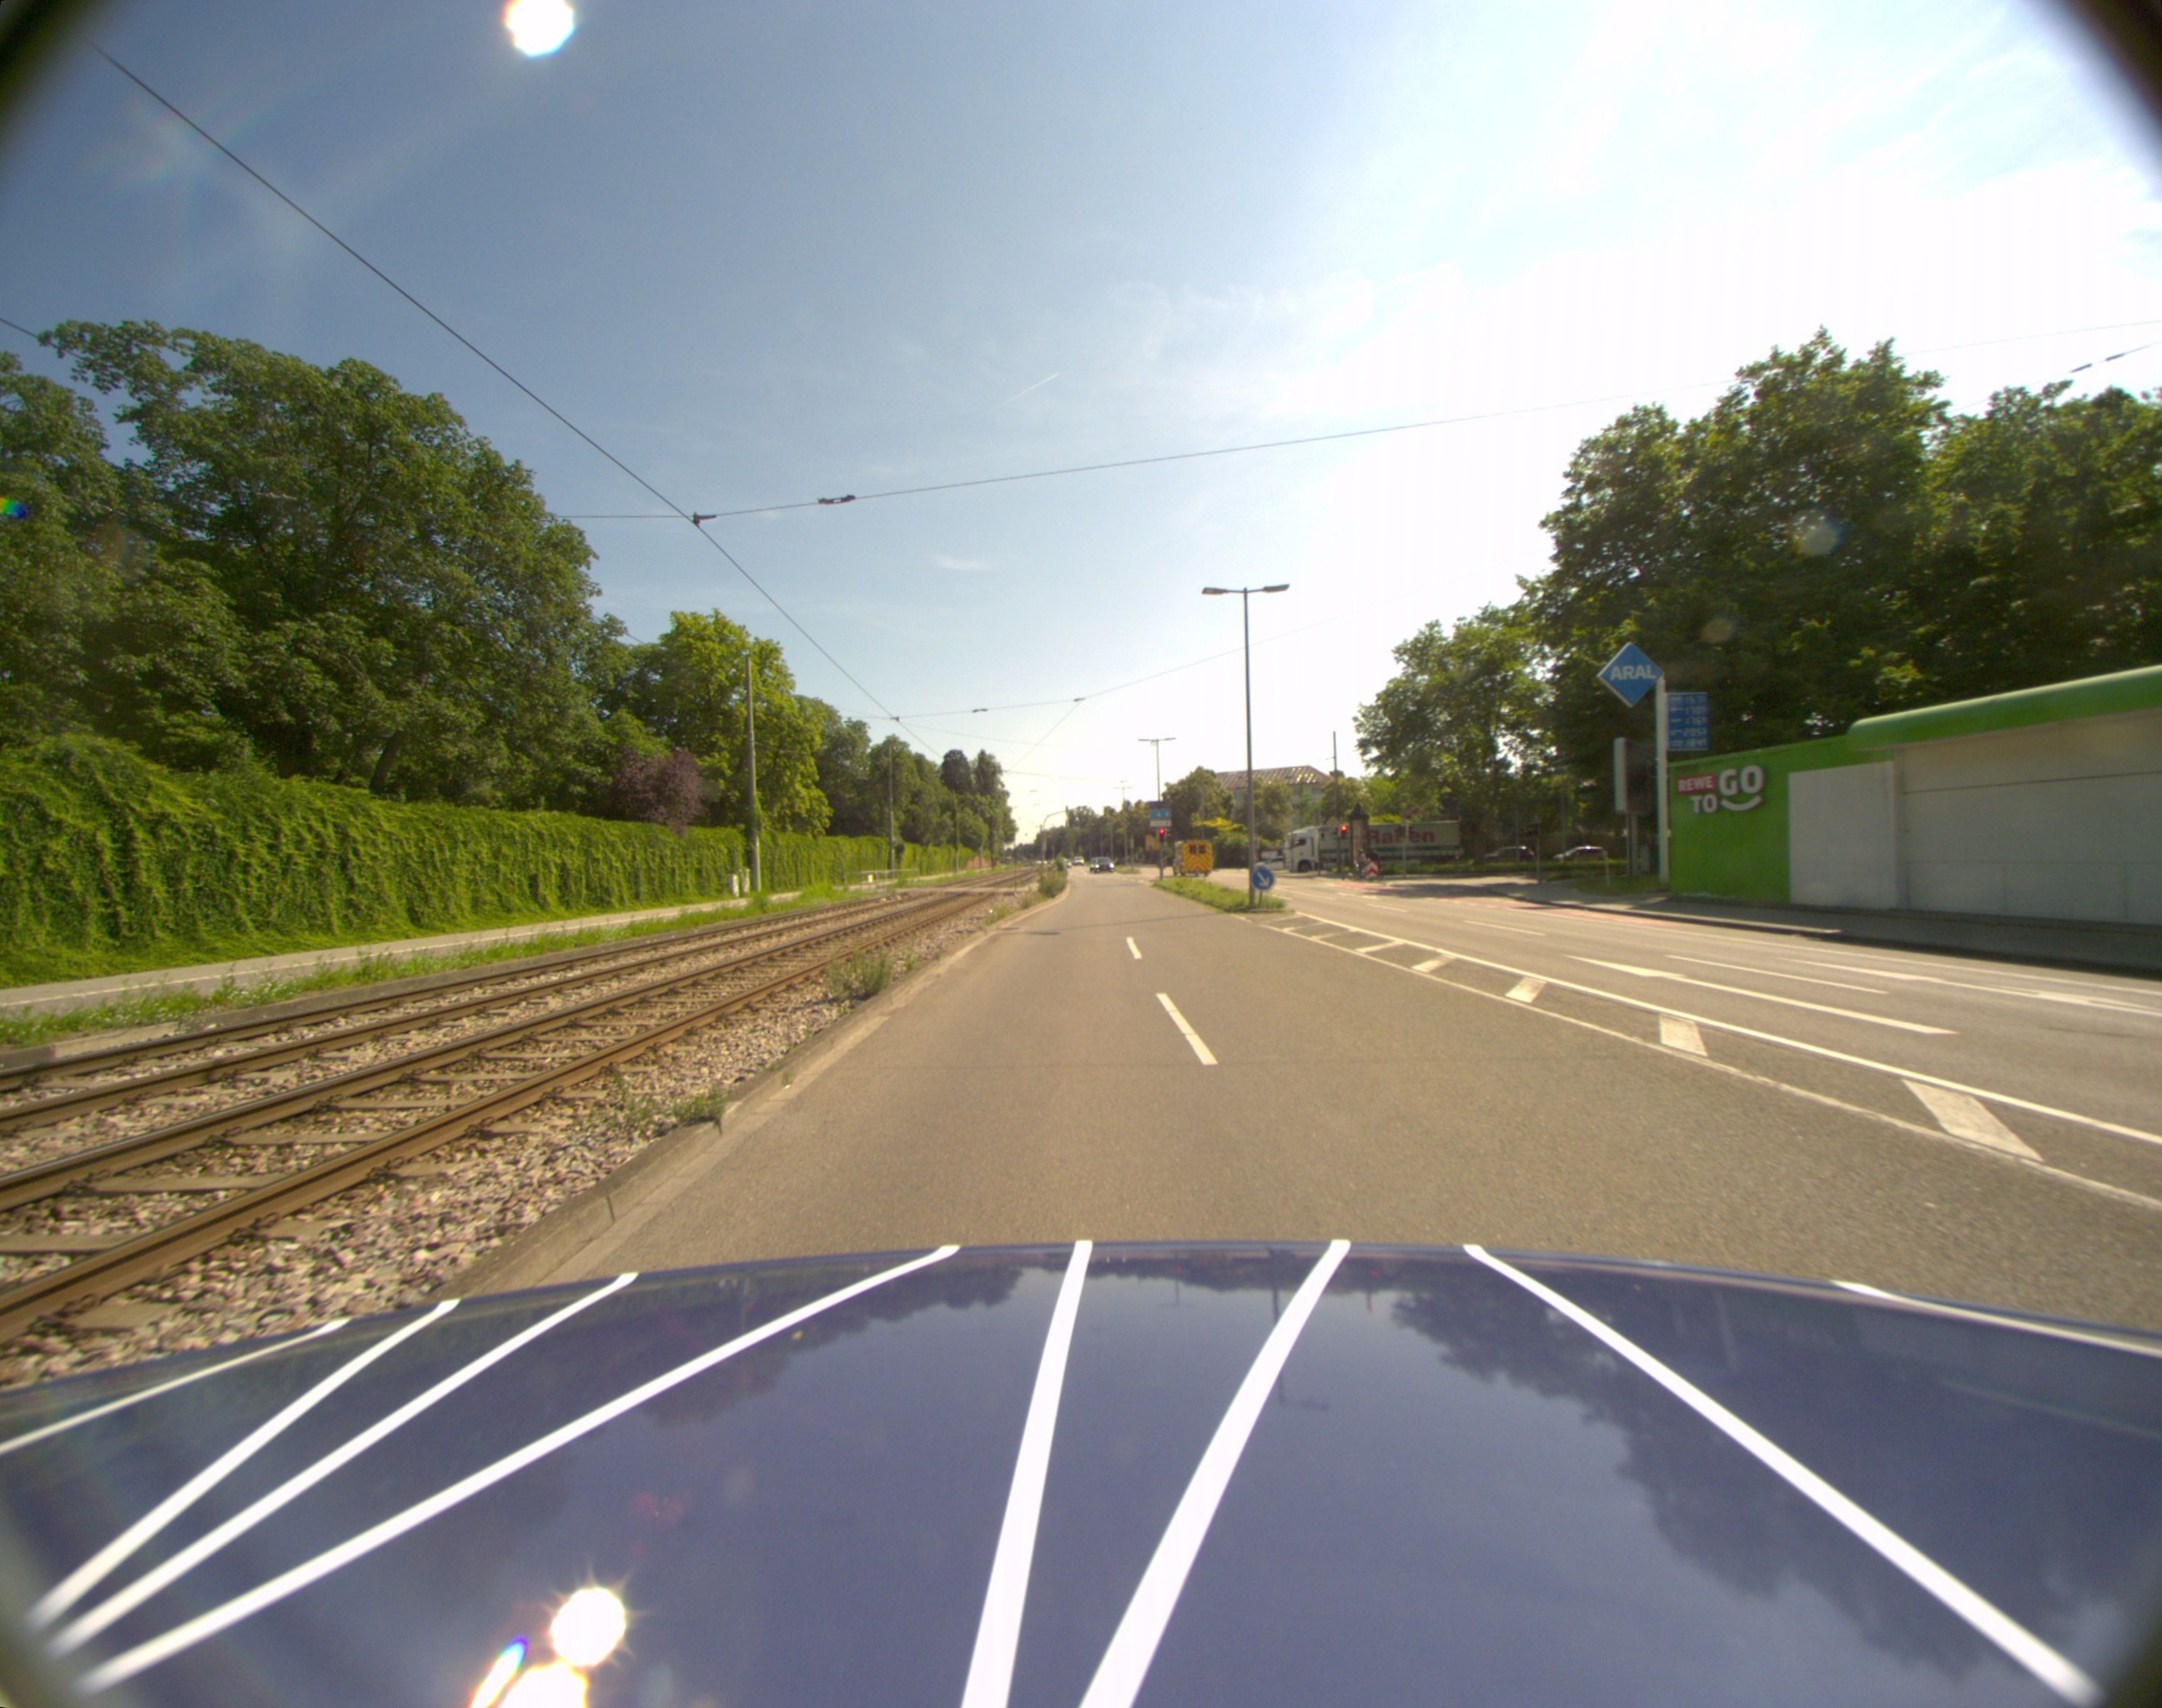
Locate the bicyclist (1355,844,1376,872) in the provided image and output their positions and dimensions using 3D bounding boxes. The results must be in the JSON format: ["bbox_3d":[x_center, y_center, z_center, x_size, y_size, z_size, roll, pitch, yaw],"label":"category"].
[{"bbox_3d":[15.011,0.219,40.054,0.710,1.412,0.739,-2,-1,-8],"label":"bicyclist"}]

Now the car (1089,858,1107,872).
[{"bbox_3d":[1.920,1.247,87.979,1.755,1.573,4.504,-1,0,-3],"label":"car"}]

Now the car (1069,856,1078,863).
[{"bbox_3d":[-1.839,1.205,183.088,1.931,1.593,4.467,-2,0,-3],"label":"car"}]

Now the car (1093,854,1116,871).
[{"bbox_3d":[2.383,0.855,77.855,1.756,1.573,4.503,-1,0,-5],"label":"car"}]

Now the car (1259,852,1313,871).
[{"bbox_3d":[18.647,0.691,69.124,4.387,1.501,1.760,-3,-2,29],"label":"car"}]

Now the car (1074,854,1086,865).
[{"bbox_3d":[-0.308,1.184,163.161,2.265,2.336,5.229,-2,0,-3],"label":"car"}]

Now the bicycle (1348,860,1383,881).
[{"bbox_3d":[15.042,0.853,40.238,0.753,1.051,2.074,-2,0,-9],"label":"bicycle"}]

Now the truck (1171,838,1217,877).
[{"bbox_3d":[8.410,0.257,57.269,2.336,2.652,7.359,-1,0,0],"label":"truck"}]

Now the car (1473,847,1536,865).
[{"bbox_3d":[36.720,0.229,65.975,4.365,1.360,1.758,-2,-1,8],"label":"car"}]

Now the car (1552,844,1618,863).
[{"bbox_3d":[43.304,-0.031,65.389,4.365,1.360,1.758,-2,-1,8],"label":"car"}]

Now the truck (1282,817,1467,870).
[{"bbox_3d":[24.504,-0.848,64.106,14.286,3.984,2.856,-1,0,6],"label":"truck"}]

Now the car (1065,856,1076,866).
[{"bbox_3d":[-1.826,1.244,131.206,1.931,1.593,4.468,-2,0,-1],"label":"car"}]

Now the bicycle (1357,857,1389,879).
[{"bbox_3d":[16.114,0.779,42.019,0.940,1.168,2.211,-1,0,2],"label":"bicycle"}]

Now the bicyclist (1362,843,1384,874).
[{"bbox_3d":[16.087,0.237,41.865,0.837,1.664,0.827,-2,-1,0],"label":"bicyclist"}]

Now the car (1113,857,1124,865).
[{"bbox_3d":[7.504,1.326,152.810,1.755,1.573,4.504,0,0,-3],"label":"car"}]
